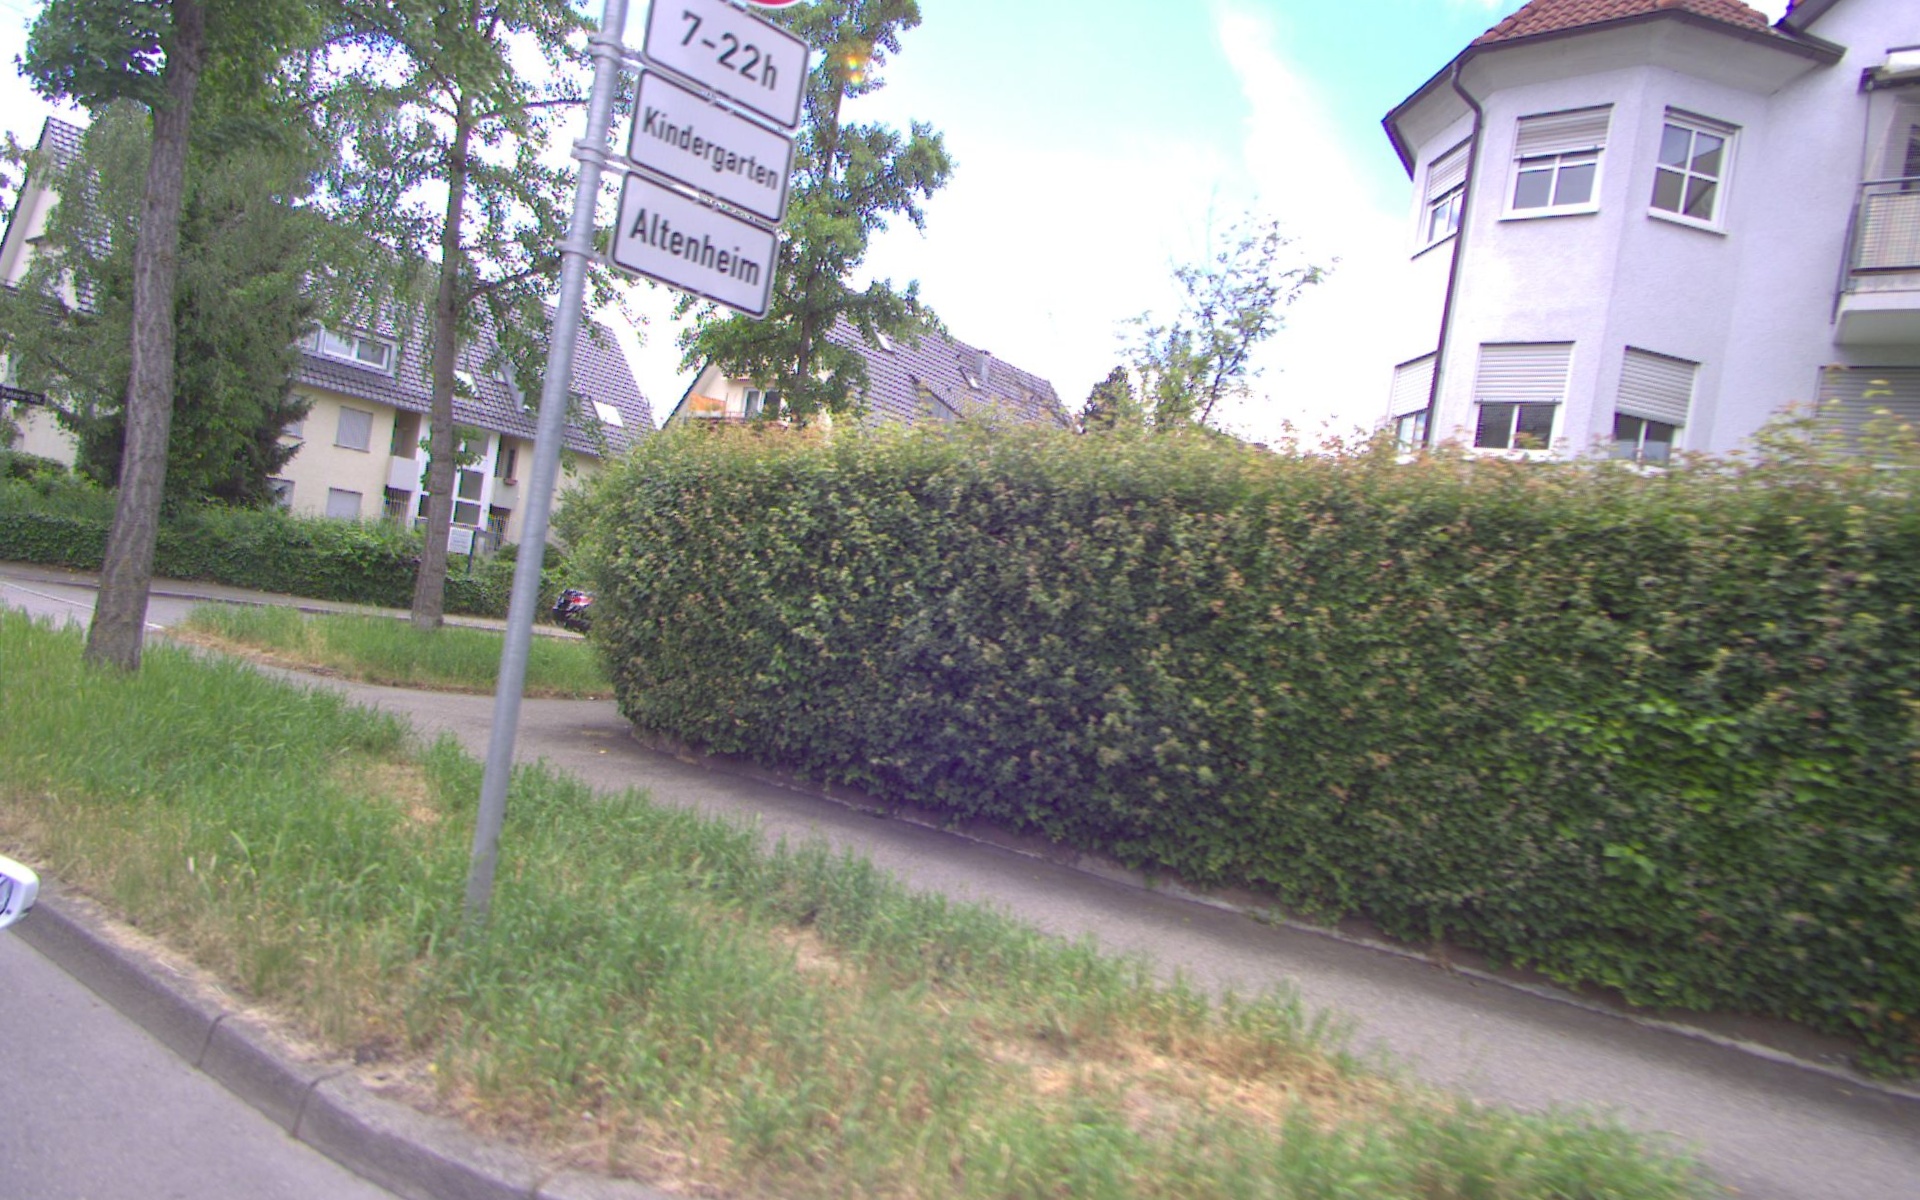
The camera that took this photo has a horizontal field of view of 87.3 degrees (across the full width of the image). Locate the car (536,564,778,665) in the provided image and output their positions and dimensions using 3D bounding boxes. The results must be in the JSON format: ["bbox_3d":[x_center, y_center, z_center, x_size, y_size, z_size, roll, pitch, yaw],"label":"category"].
[{"bbox_3d":[-6.311,0.333,21.166,4.423,1.480,1.852,10,-3,-35],"label":"car"}]
